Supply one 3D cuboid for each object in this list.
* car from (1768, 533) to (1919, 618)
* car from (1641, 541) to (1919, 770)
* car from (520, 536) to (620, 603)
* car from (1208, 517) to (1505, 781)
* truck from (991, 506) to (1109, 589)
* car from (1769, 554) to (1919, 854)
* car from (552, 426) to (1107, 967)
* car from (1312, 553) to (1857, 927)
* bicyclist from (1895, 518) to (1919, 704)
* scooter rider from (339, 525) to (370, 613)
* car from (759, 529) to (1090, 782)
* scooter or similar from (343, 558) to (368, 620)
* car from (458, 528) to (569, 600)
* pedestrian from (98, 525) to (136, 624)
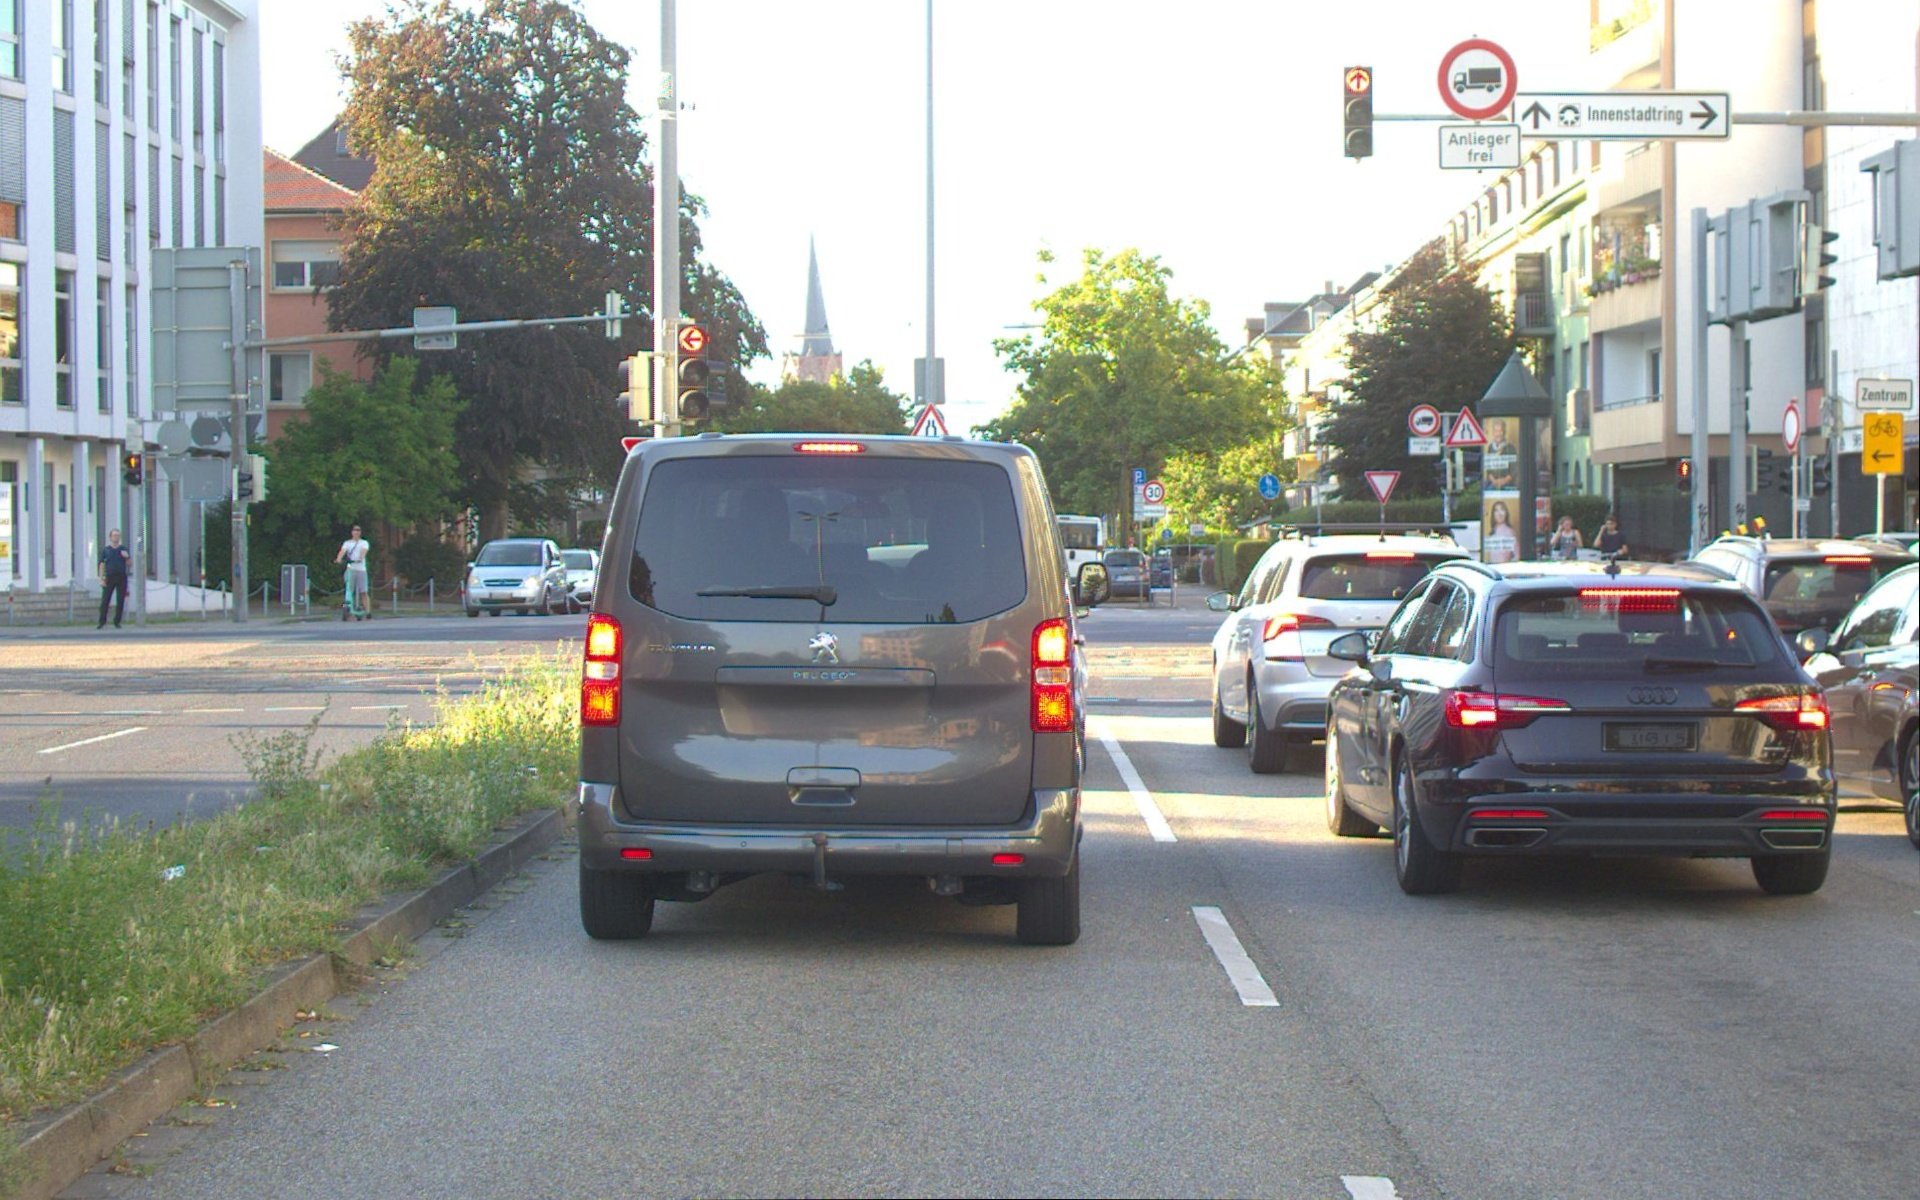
[{"bbox_3d":[15.990,-0.433,58.518,3.986,1.415,1.788,0,1,-6],"label":"car"},{"bbox_3d":[5.757,0.325,23.568,1.504,1.444,3.305,0,1,0],"label":"car"},{"bbox_3d":[-8.665,-0.700,76.618,1.856,1.415,4.000,0,1,-2],"label":"car"},{"bbox_3d":[2.597,0.266,23.216,1.529,1.608,3.745,1,1,0],"label":"car"},{"bbox_3d":[2.281,-1.374,88.724,2.127,2.079,4.633,-1,1,-10],"label":"truck"},{"bbox_3d":[5.509,0.510,17.969,1.634,1.444,3.745,1,1,0],"label":"car"},{"bbox_3d":[-0.462,0.292,14.284,1.907,1.857,4.527,1,1,0],"label":"car"},{"bbox_3d":[2.683,0.525,15.689,1.681,1.416,4.214,1,1,0],"label":"car"},{"bbox_3d":[8.100,0.081,28.487,0.513,1.520,0.725,0,1,0],"label":"bicyclist"},{"bbox_3d":[-11.776,-0.605,66.858,0.481,1.691,0.636,0,1,0],"label":"scooter rider"},{"bbox_3d":[-0.221,0.296,22.798,1.993,1.525,4.000,0,1,0],"label":"car"},{"bbox_3d":[-11.748,-0.224,66.810,0.285,1.184,1.169,0,1,0],"label":"scooter or similar"},{"bbox_3d":[-9.162,-0.757,70.802,1.856,1.415,4.000,0,1,-2],"label":"car"},{"bbox_3d":[-14.626,-0.449,59.640,0.625,1.716,0.671,-1,1,-14],"label":"pedestrian"}]
